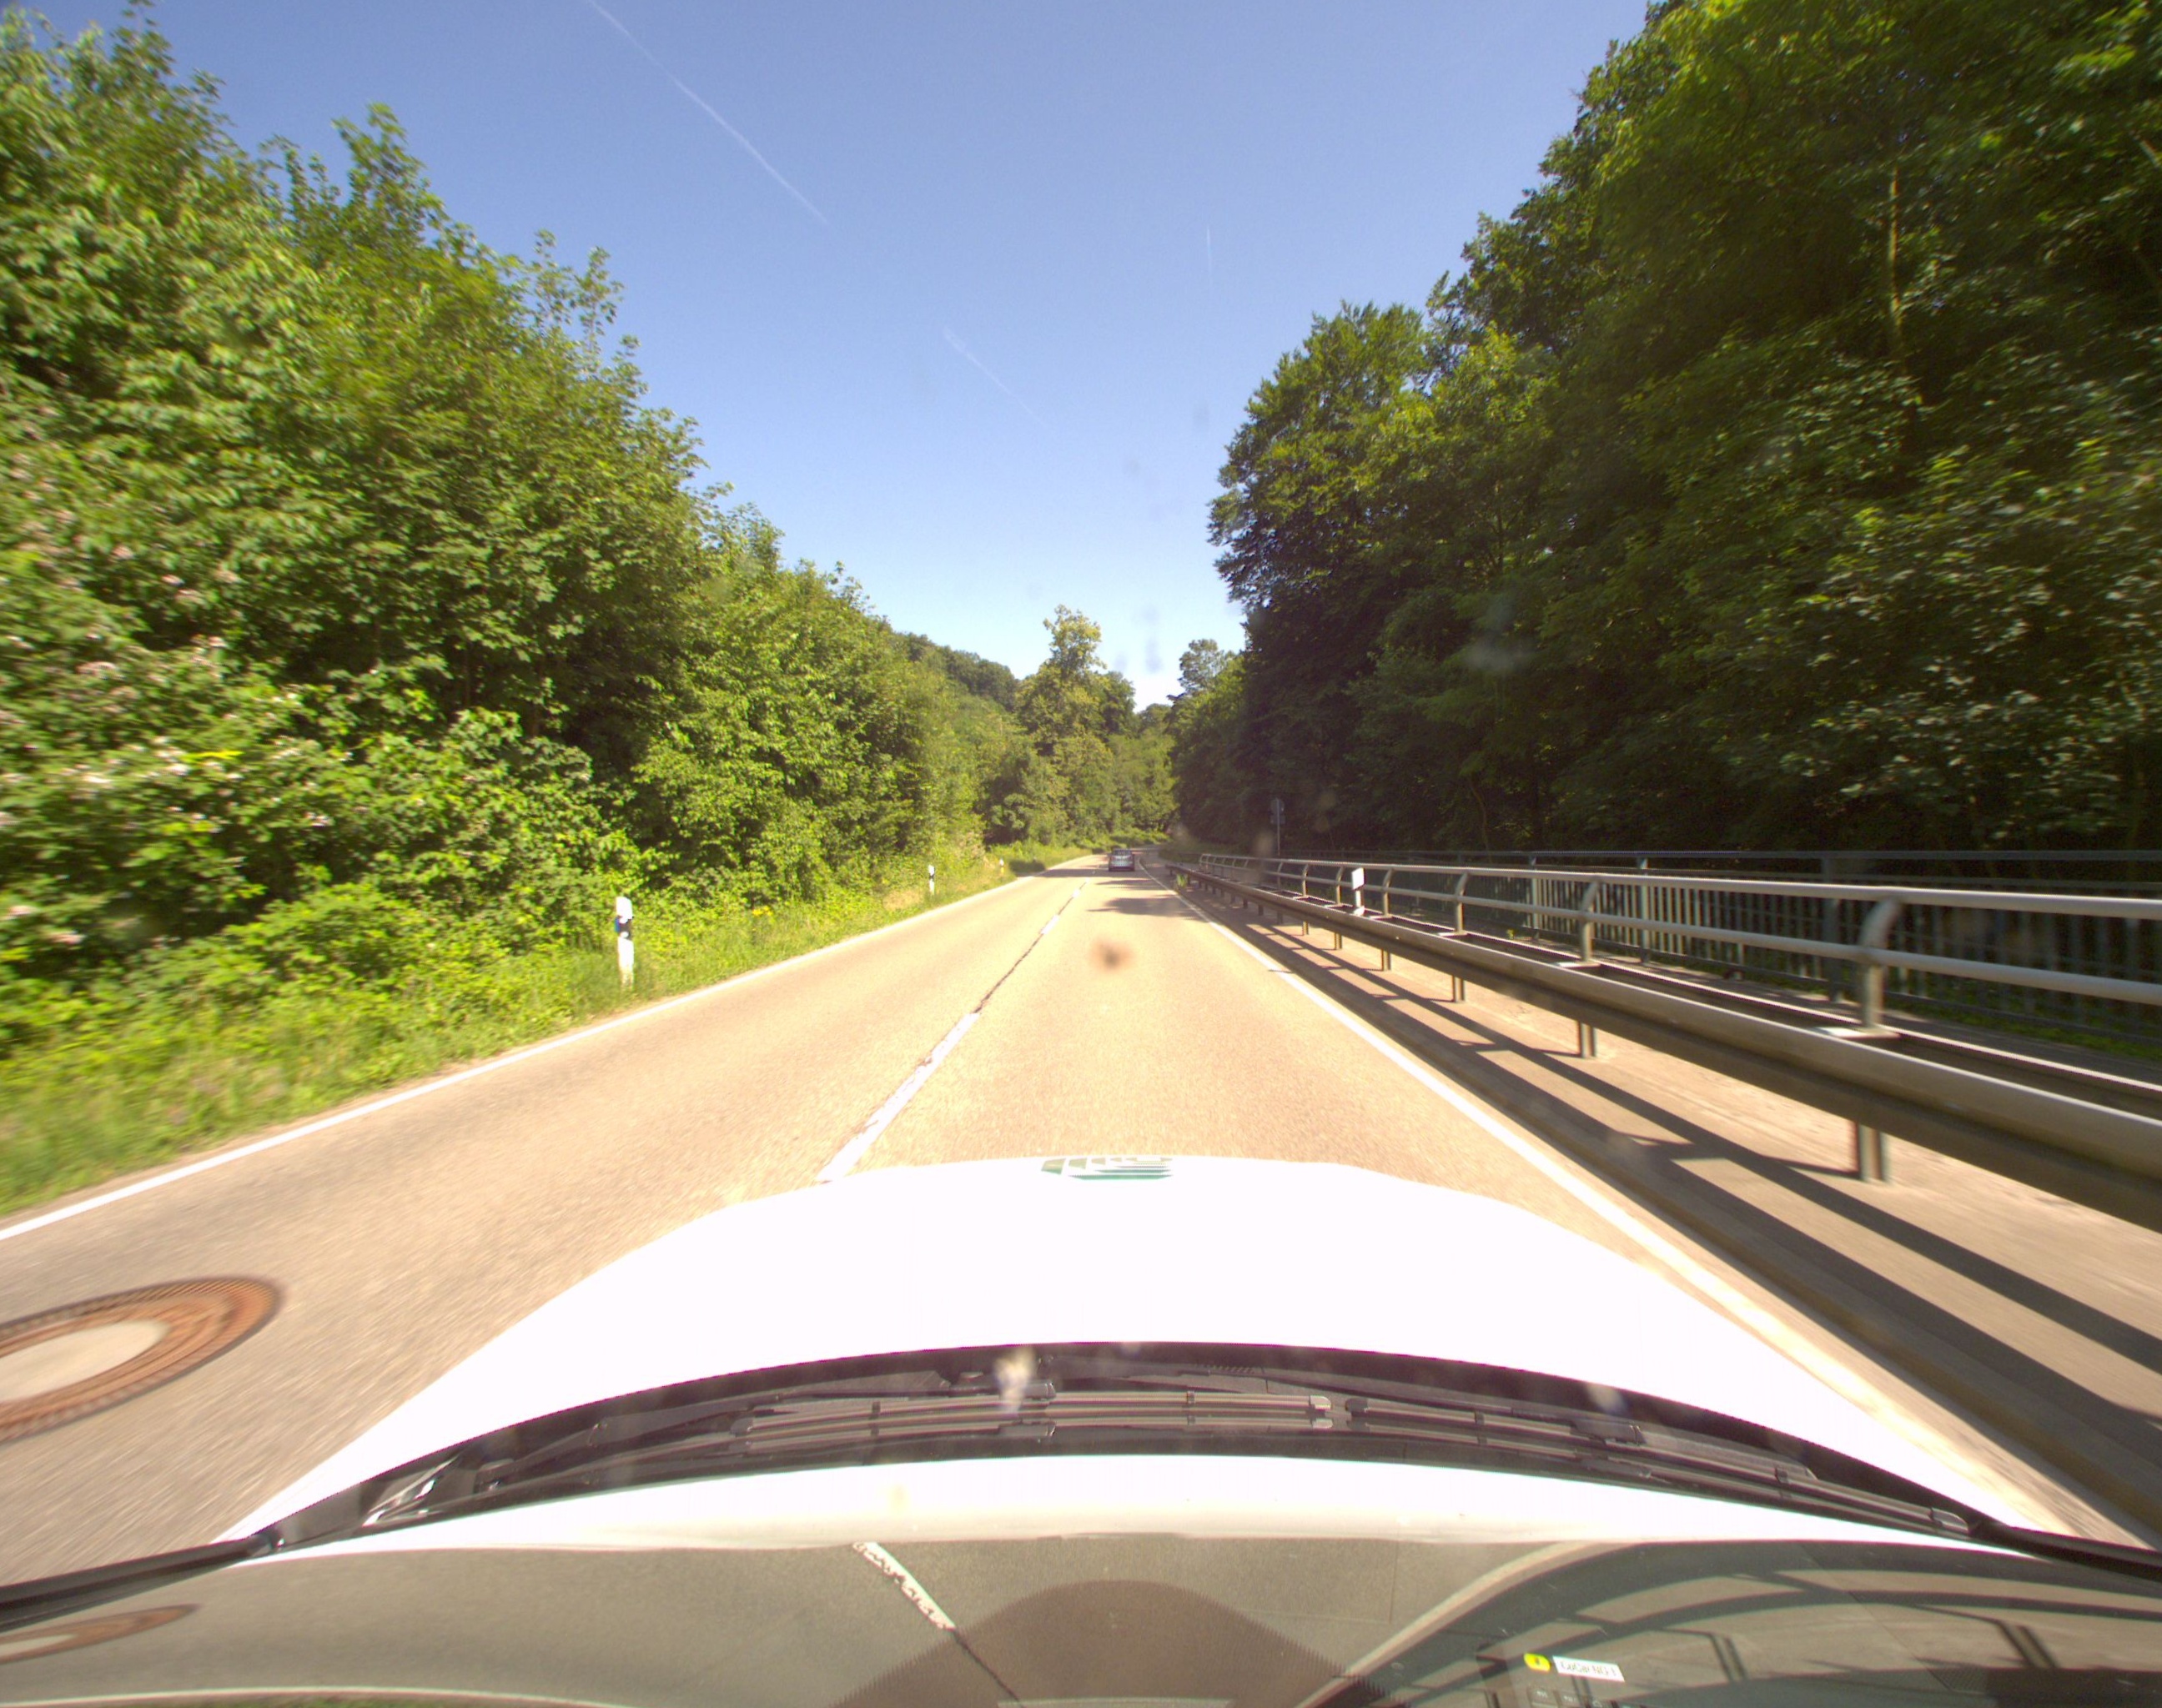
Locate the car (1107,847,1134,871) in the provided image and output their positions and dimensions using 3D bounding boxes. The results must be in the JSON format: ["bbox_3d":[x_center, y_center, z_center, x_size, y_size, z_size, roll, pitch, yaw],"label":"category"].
[{"bbox_3d":[2.708,0.341,55.385,1.743,1.520,4.163,-1,0,4],"label":"car"}]
